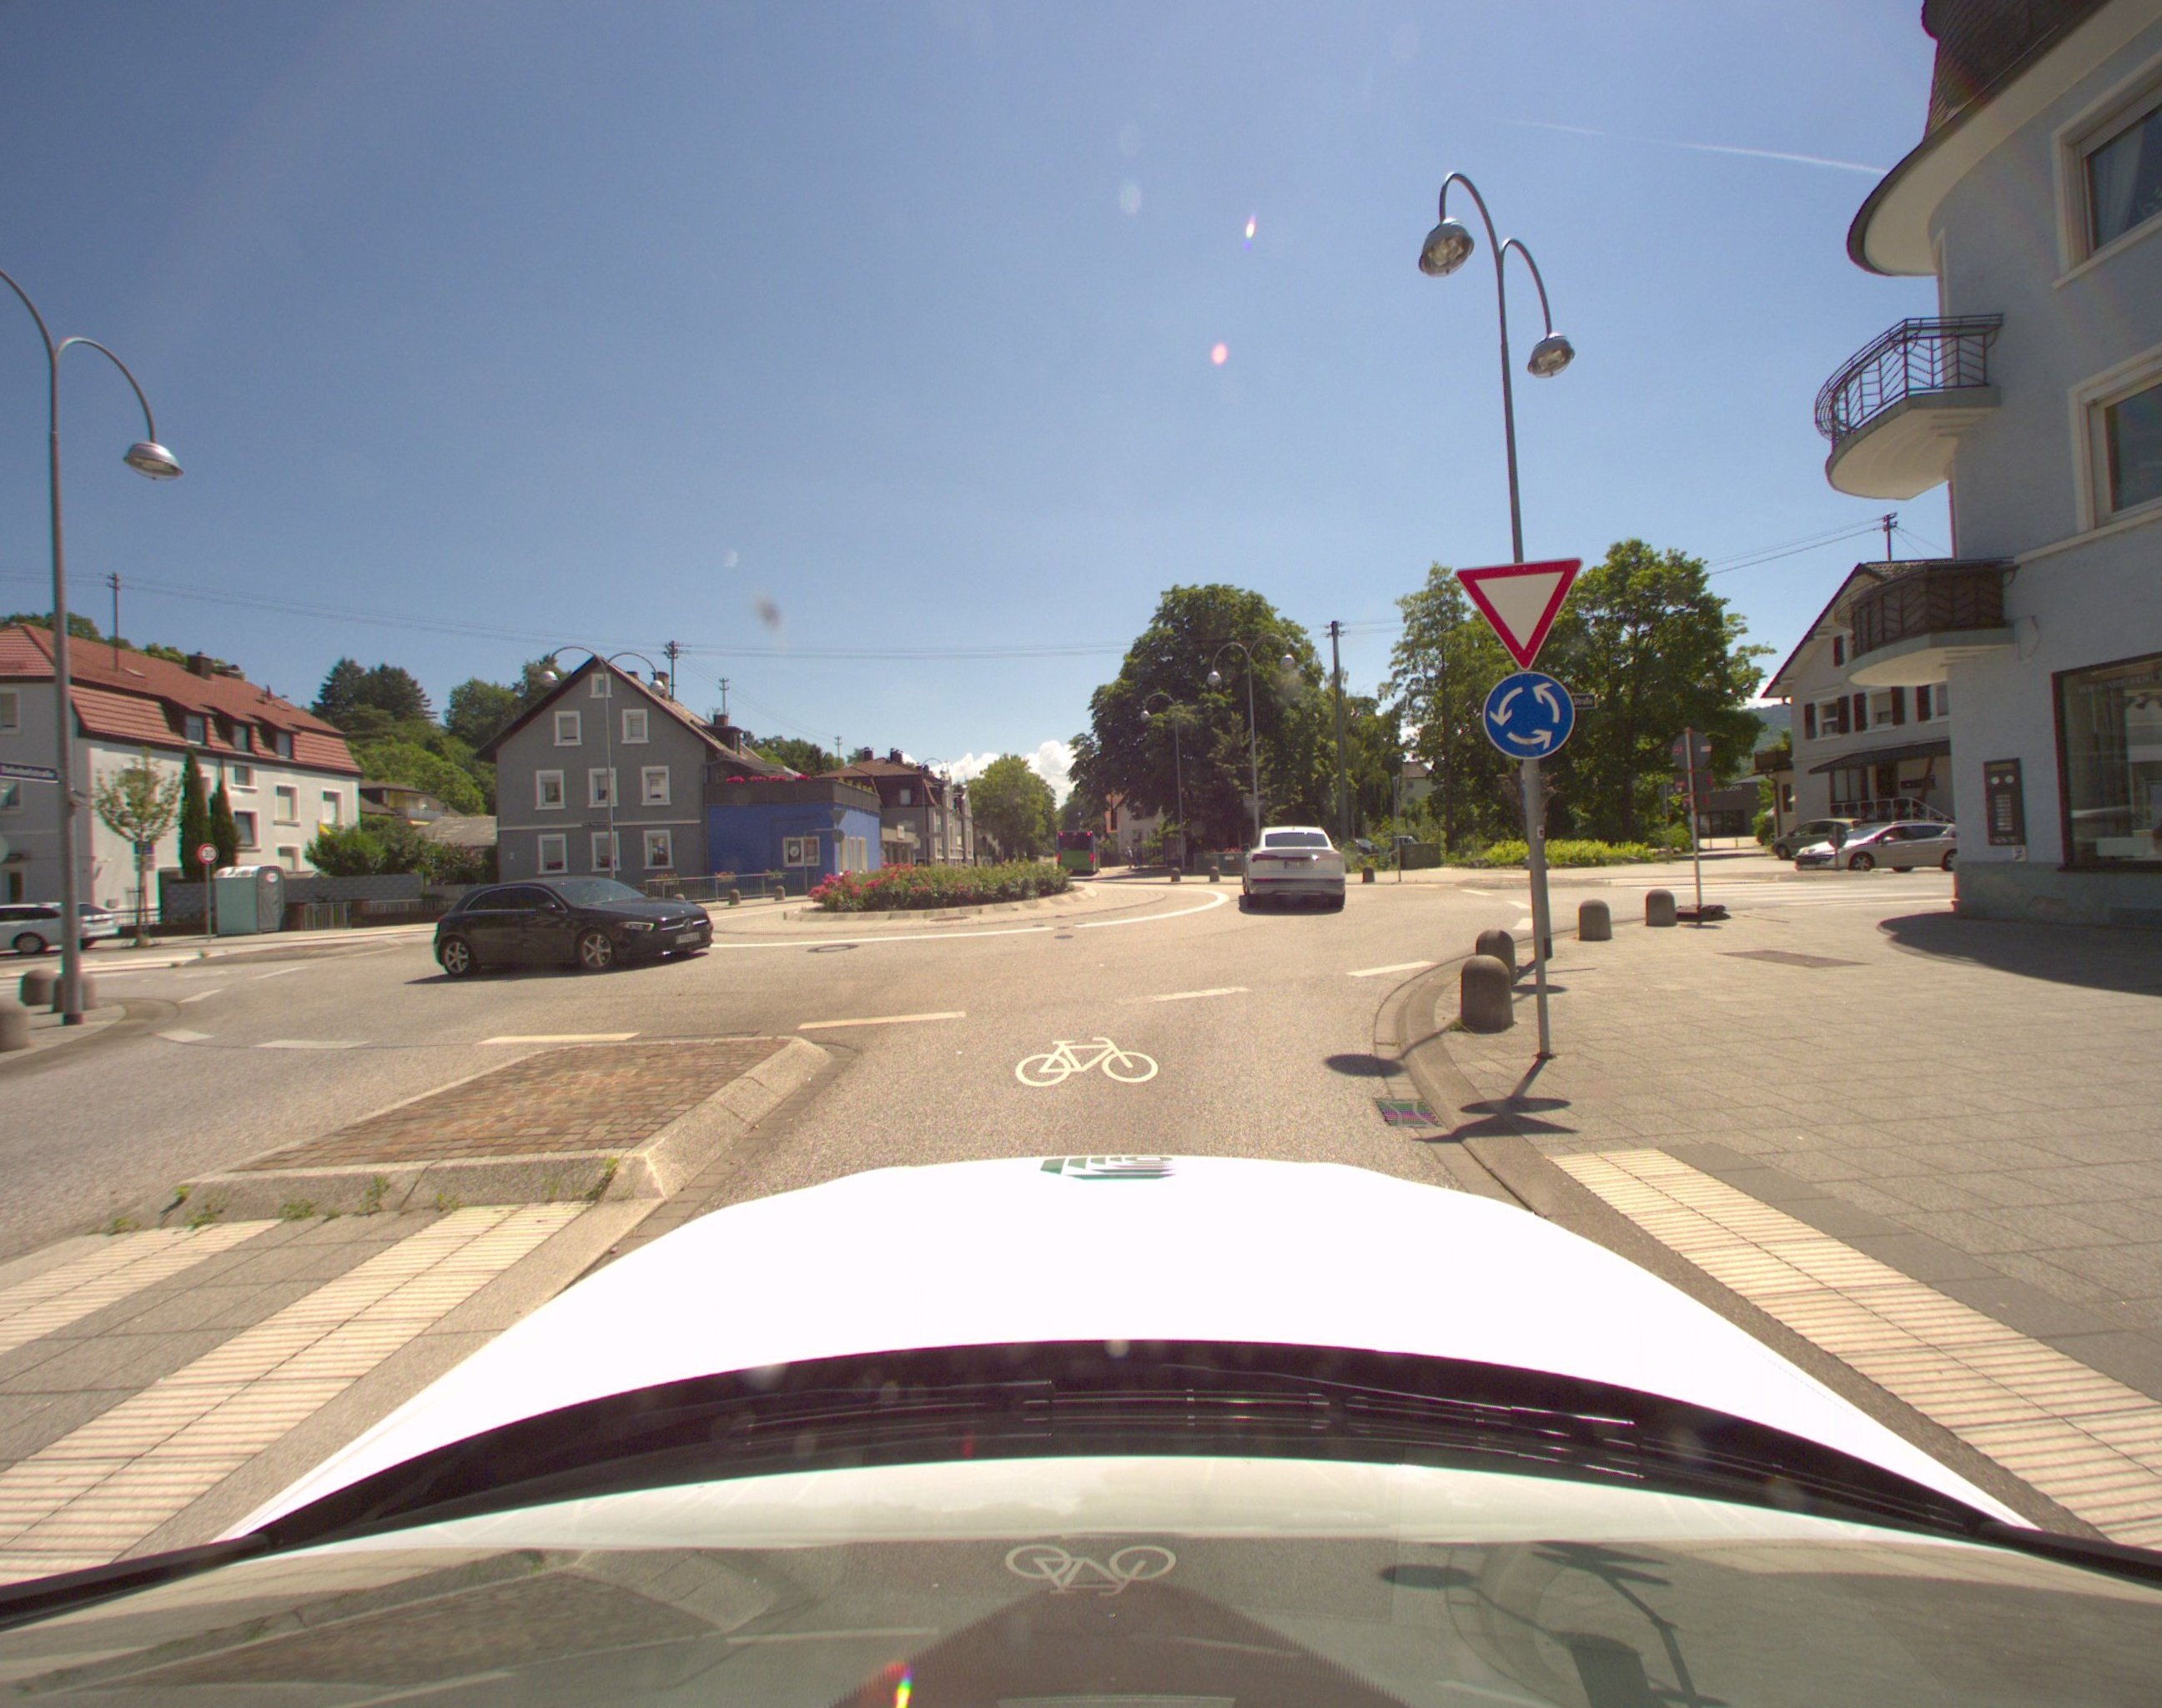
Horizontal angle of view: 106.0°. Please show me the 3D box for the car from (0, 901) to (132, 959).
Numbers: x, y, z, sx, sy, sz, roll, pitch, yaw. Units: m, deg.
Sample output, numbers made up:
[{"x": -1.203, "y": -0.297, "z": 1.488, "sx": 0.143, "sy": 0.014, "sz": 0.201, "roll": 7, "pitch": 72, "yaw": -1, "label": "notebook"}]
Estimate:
[{"x": -31.119, "y": 2.263, "z": 23.806, "sx": 4.075, "sy": 1.391, "sz": 1.600, "roll": -2, "pitch": 3, "yaw": -17, "label": "car"}]

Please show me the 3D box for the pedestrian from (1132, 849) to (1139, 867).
[{"x": 4.669, "y": 0.361, "z": 69.556, "sx": 0.488, "sy": 1.522, "sz": 0.541, "roll": -3, "pitch": 0, "yaw": -6, "label": "pedestrian"}]

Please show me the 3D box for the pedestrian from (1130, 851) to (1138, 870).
[{"x": 4.148, "y": 0.526, "z": 63.989, "sx": 0.488, "sy": 1.454, "sz": 0.529, "roll": -3, "pitch": 0, "yaw": -6, "label": "pedestrian"}]

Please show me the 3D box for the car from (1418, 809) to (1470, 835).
[{"x": 31.538, "y": -2.727, "z": 70.704, "sx": 3.950, "sy": 2.013, "sz": 2.012, "roll": -3, "pitch": 0, "yaw": 26, "label": "car"}]

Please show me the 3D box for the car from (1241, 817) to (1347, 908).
[{"x": 4.703, "y": 0.138, "z": 17.610, "sx": 1.883, "sy": 1.662, "sz": 4.430, "roll": -3, "pitch": 0, "yaw": 17, "label": "car"}]

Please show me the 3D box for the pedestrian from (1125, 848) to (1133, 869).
[{"x": 3.948, "y": 0.356, "z": 67.158, "sx": 0.501, "sy": 1.650, "sz": 0.578, "roll": -3, "pitch": 0, "yaw": -6, "label": "pedestrian"}]

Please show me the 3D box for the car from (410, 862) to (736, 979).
[{"x": -8.002, "y": 1.030, "z": 12.921, "sx": 4.391, "sy": 1.457, "sz": 1.776, "roll": -4, "pitch": 0, "yaw": 15, "label": "car"}]

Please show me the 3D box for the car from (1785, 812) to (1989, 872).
[{"x": 23.603, "y": -0.339, "z": 23.954, "sx": 4.178, "sy": 1.516, "sz": 1.747, "roll": -3, "pitch": 0, "yaw": 2, "label": "car"}]

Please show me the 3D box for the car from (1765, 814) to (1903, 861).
[{"x": 29.082, "y": -0.621, "z": 31.631, "sx": 1.745, "sy": 1.640, "sz": 4.003, "roll": -3, "pitch": 0, "yaw": 3, "label": "car"}]

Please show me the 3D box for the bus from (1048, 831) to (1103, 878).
[{"x": -0.129, "y": 0.086, "z": 64.285, "sx": 3.693, "sy": 3.171, "sz": 18.074, "roll": -1, "pitch": 0, "yaw": 2, "label": "bus"}]

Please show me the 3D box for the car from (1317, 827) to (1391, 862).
[{"x": 17.347, "y": -0.579, "z": 51.809, "sx": 2.011, "sy": 2.013, "sz": 3.953, "roll": -3, "pitch": 0, "yaw": -40, "label": "car"}]
